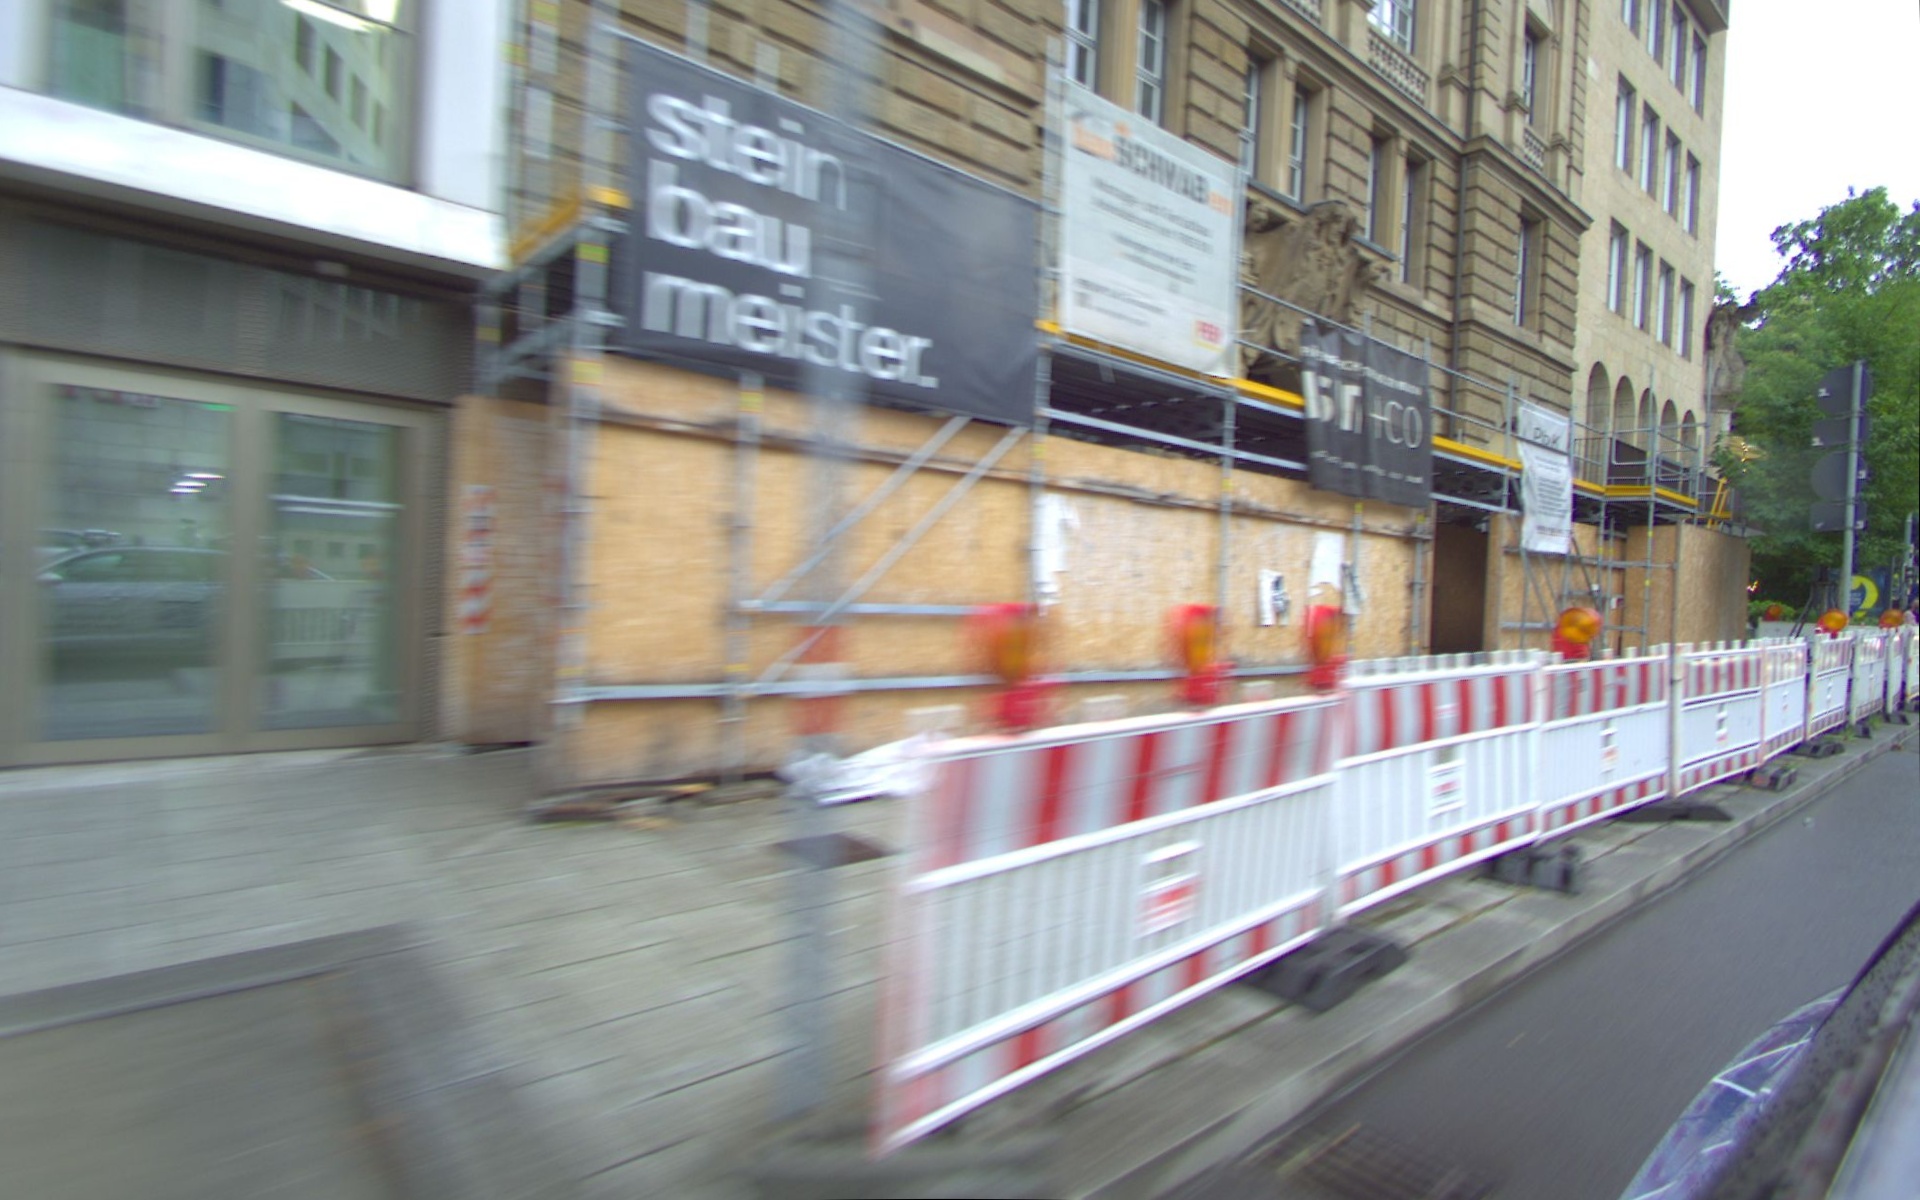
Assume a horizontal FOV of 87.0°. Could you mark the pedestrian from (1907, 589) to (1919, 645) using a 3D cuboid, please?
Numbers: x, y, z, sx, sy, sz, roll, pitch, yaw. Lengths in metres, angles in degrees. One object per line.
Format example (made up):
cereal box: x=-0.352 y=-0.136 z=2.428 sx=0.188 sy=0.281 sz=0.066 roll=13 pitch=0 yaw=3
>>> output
pedestrian: x=32.803 y=0.584 z=34.435 sx=0.585 sy=1.857 sz=0.624 roll=2 pitch=2 yaw=23
